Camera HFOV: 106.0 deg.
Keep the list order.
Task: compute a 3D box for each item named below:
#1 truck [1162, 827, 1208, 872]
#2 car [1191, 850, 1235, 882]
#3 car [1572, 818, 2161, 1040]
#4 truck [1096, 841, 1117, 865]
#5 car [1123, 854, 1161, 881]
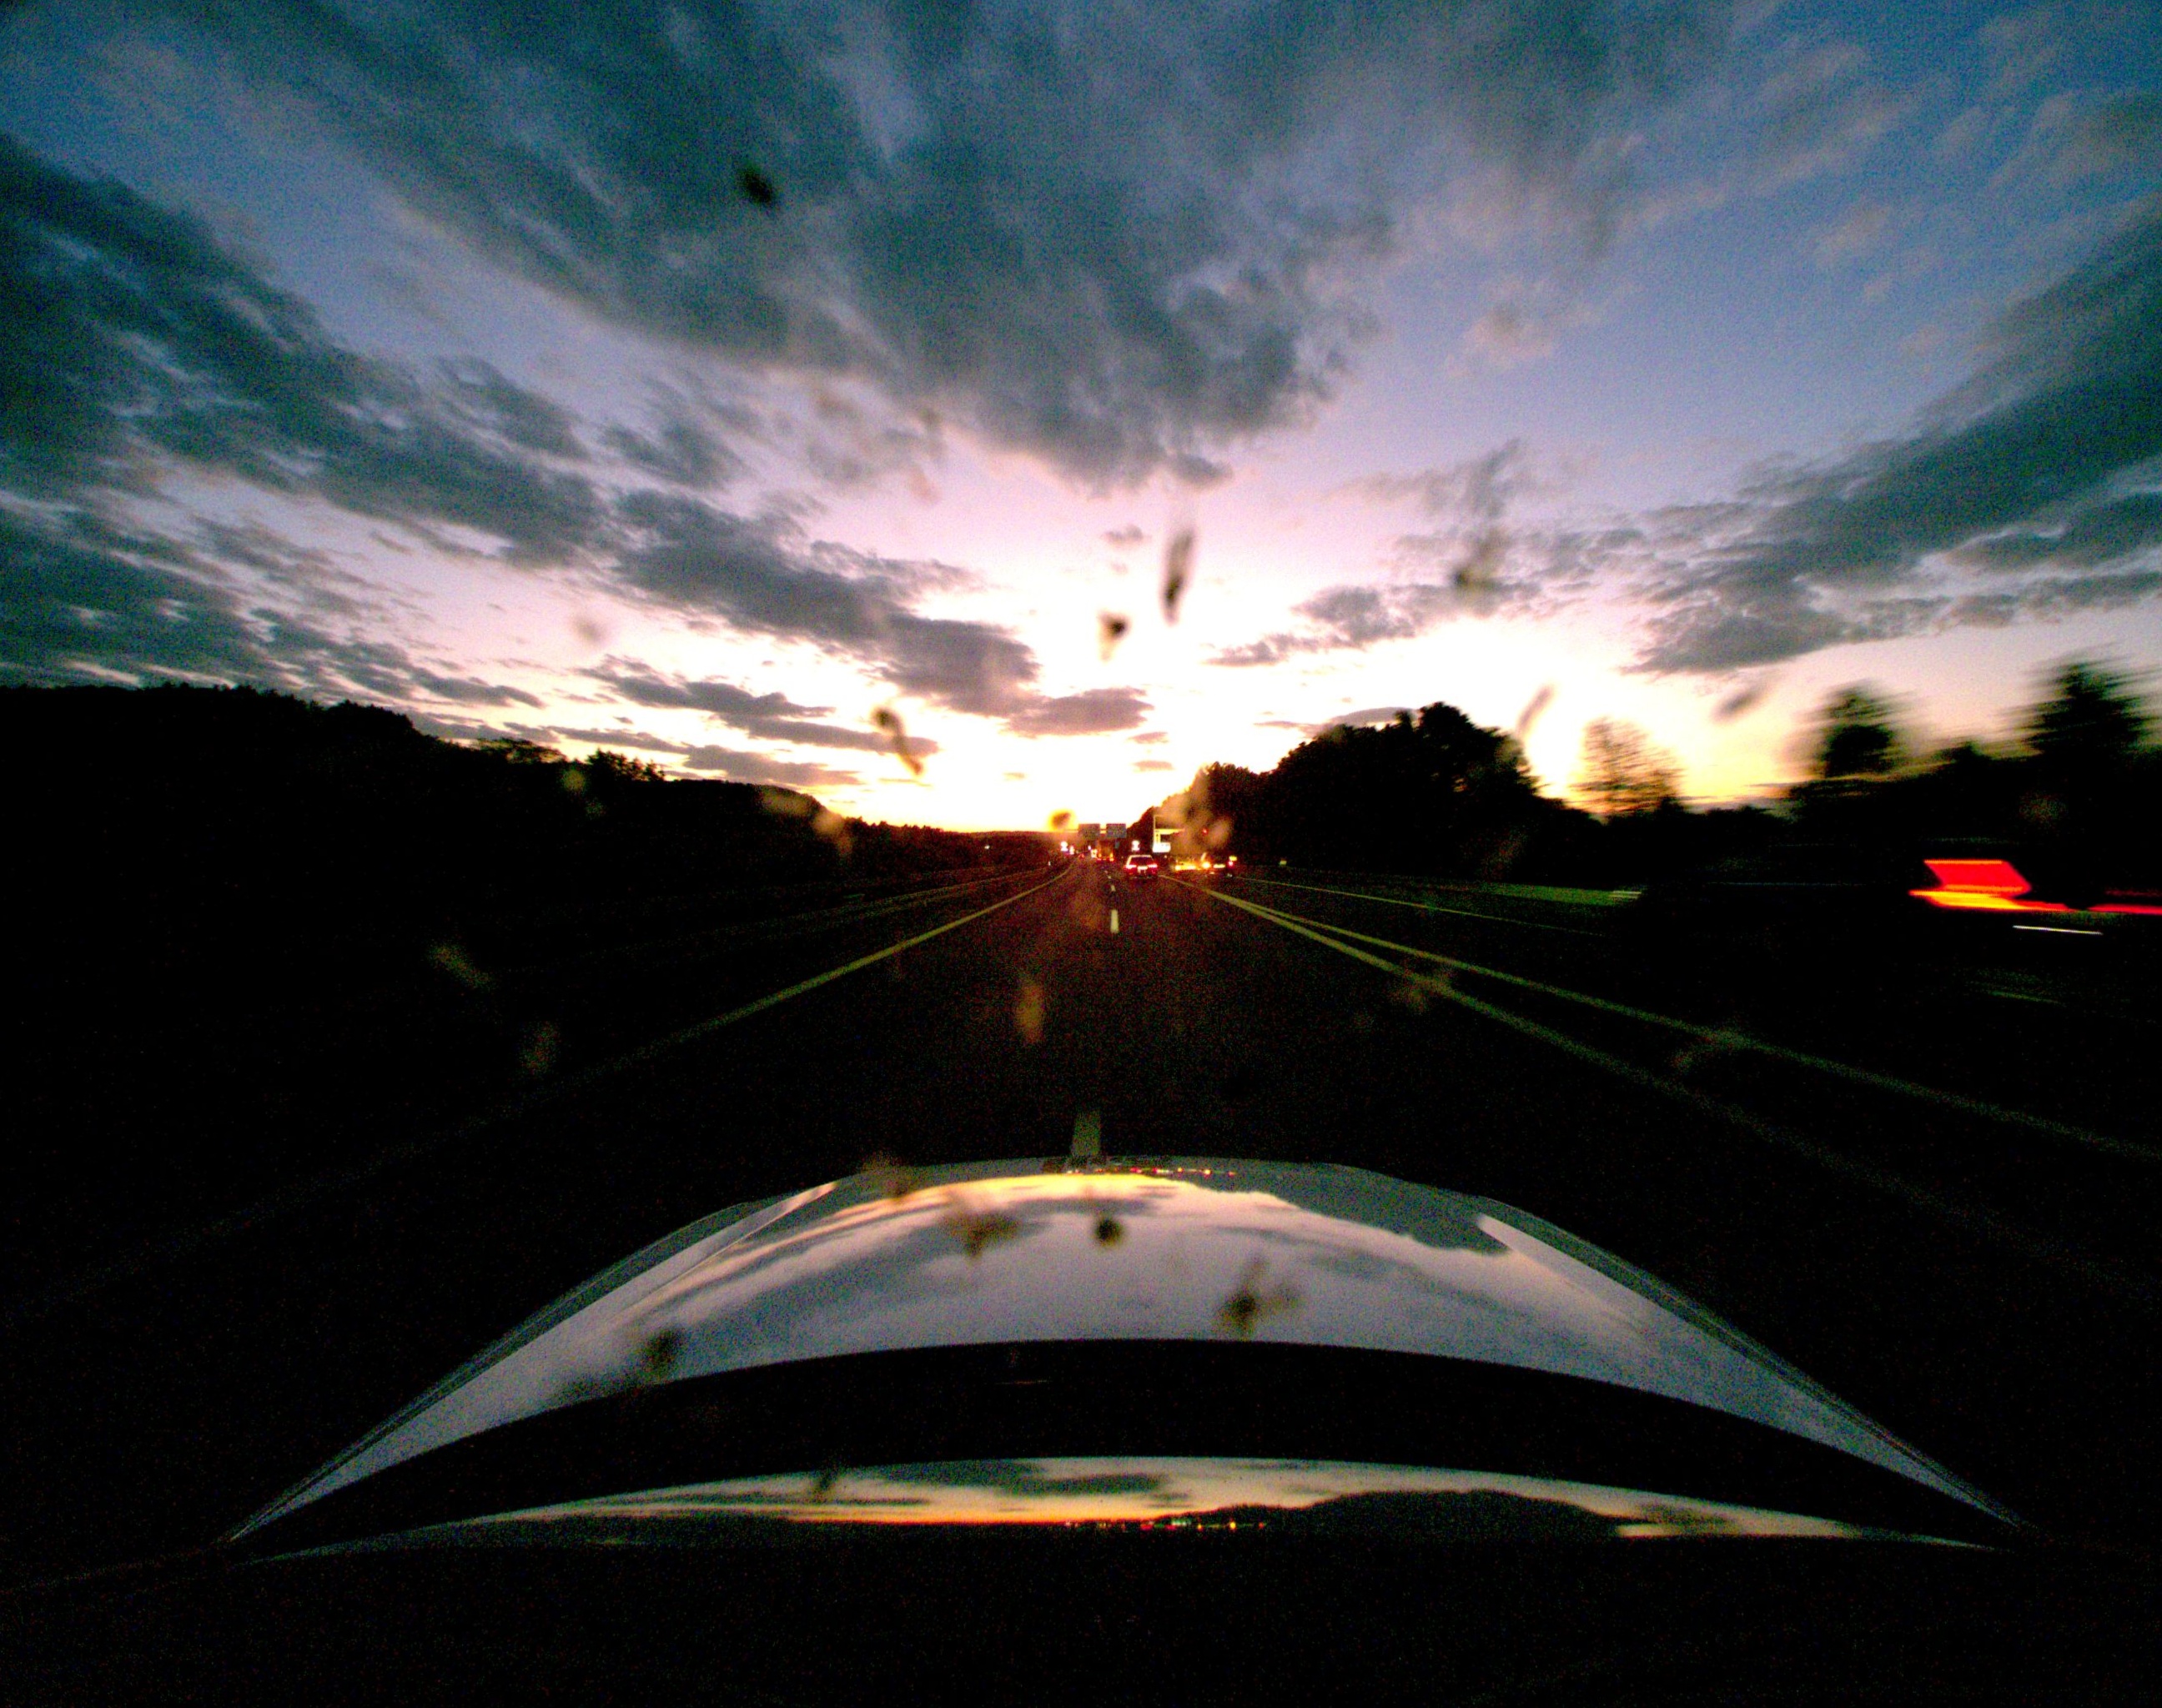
[{"bbox_3d":[7.276,-0.293,57.481,2.262,2.972,6.629,2,0,-1],"label":"truck"},{"bbox_3d":[6.571,0.592,40.850,1.606,1.556,3.316,-1,-1,-2],"label":"car"},{"bbox_3d":[7.918,0.612,8.959,1.793,1.645,5.158,4,0,-1],"label":"car"},{"bbox_3d":[4.641,-0.109,152.281,3.499,4.301,9.887,-1,-1,-1],"label":"truck"},{"bbox_3d":[3.436,0.748,46.485,1.909,1.442,3.999,-1,-1,0],"label":"car"}]
